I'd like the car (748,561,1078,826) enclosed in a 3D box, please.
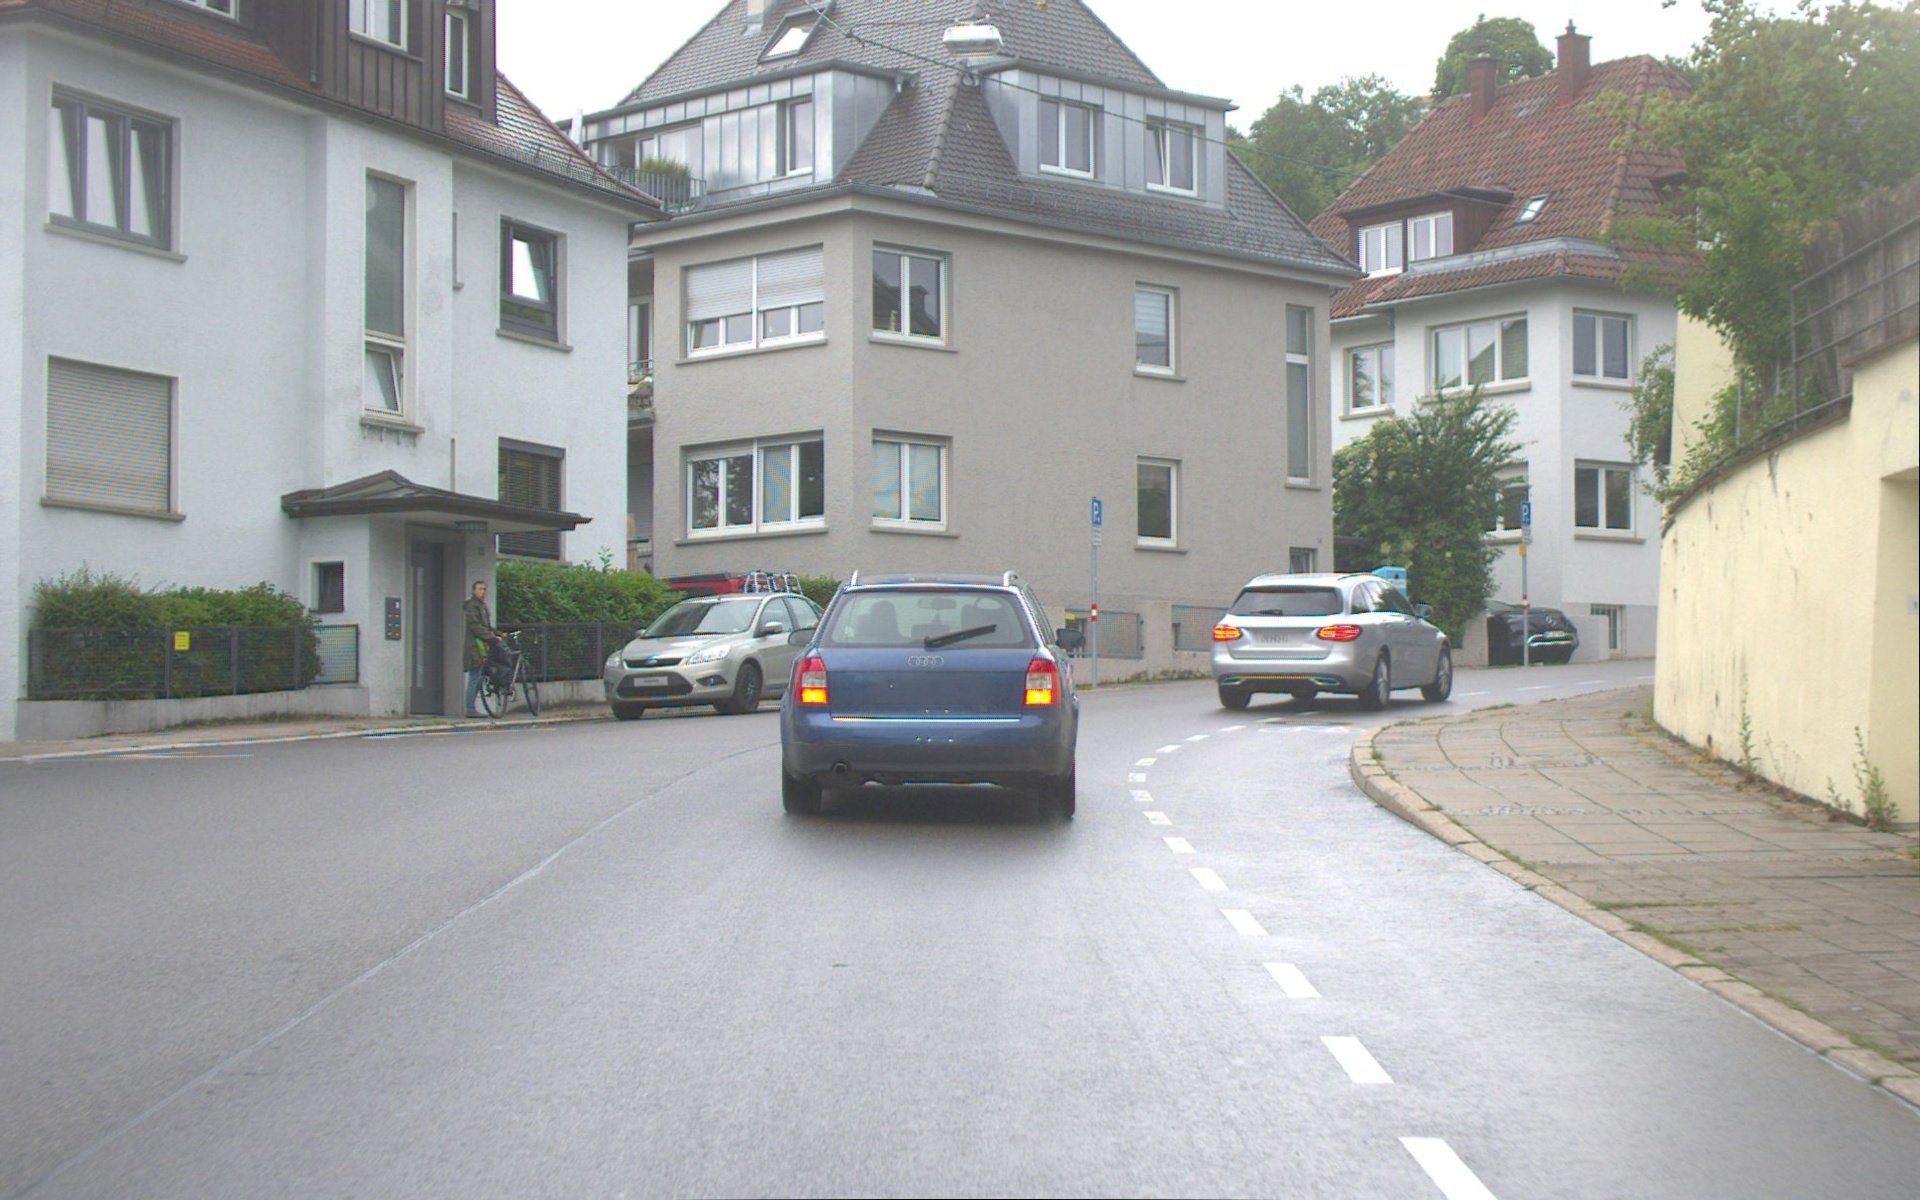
[{"bbox_3d":[-0.241,0.498,21.244,1.811,1.434,4.081,1,1,1],"label":"car"}]

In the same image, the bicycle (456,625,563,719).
[{"bbox_3d":[-5.380,0.854,41.169,0.456,1.063,1.920,-1,0,19],"label":"bicycle"}]

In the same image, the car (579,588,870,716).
[{"bbox_3d":[-2.820,0.605,42.136,1.838,1.420,4.225,-2,-1,22],"label":"car"}]

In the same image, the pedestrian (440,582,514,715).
[{"bbox_3d":[-5.810,0.579,41.370,0.493,1.572,0.947,-1,0,19],"label":"pedestrian"}]

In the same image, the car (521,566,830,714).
[{"bbox_3d":[-4.216,0.592,50.897,3.993,1.817,1.997,-6,-2,28],"label":"car"}]

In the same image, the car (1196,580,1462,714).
[{"bbox_3d":[4.099,0.535,37.653,1.813,1.356,3.995,1,-1,23],"label":"car"}]

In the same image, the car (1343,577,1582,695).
[{"bbox_3d":[9.573,0.709,65.768,1.994,1.618,4.251,-1,-8,-35],"label":"car"}]
